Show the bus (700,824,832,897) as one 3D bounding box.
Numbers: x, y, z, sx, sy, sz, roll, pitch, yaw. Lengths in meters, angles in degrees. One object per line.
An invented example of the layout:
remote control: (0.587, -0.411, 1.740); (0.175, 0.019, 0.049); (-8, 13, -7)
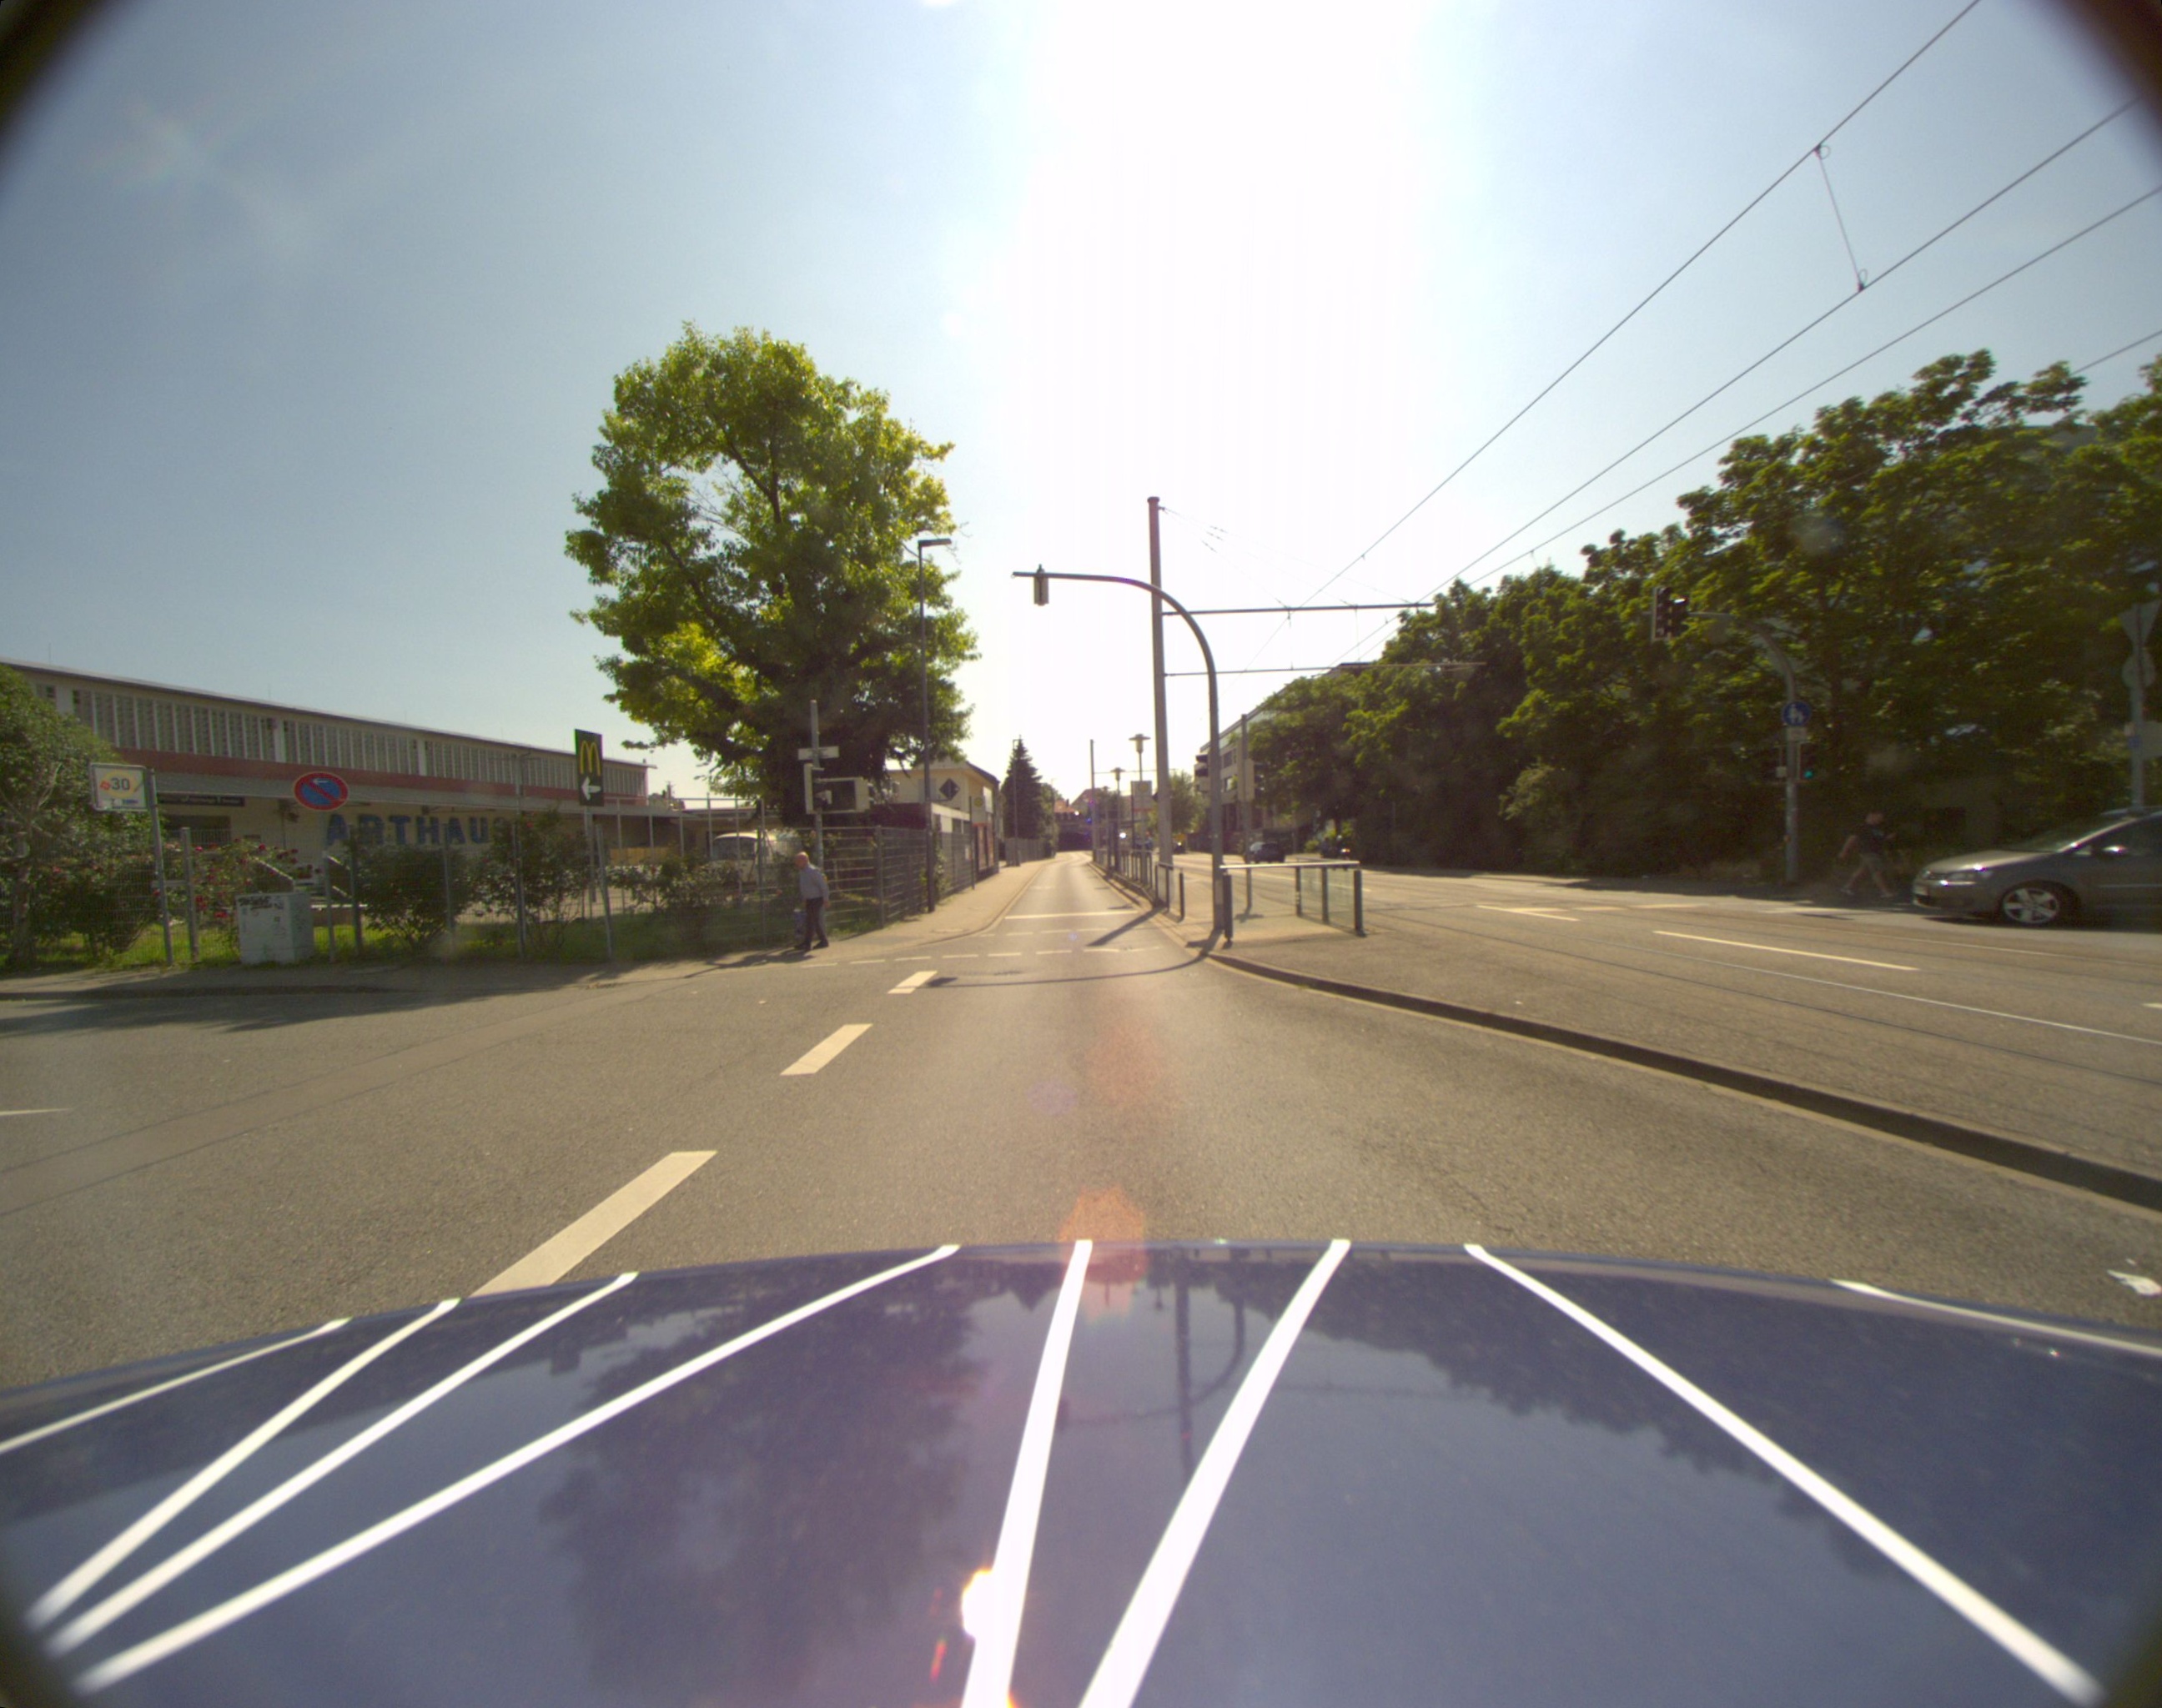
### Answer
bus: (-16.121, 0.107, 39.979); (2.572, 3.154, 10.262); (-2, 3, 0)

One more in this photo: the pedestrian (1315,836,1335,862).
pedestrian: (14.940, -0.322, 46.573); (0.873, 1.518, 0.845); (-2, 1, -2)

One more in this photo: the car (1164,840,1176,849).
car: (15.507, -1.664, 132.407); (1.870, 1.609, 4.001); (-1, 1, 6)

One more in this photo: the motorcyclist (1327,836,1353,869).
motorcyclist: (12.136, -0.078, 35.652); (0.838, 1.467, 0.962); (-2, 1, 0)

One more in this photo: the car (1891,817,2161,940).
car: (14.525, 0.288, 10.475); (4.181, 1.574, 1.936); (0, 2, 28)

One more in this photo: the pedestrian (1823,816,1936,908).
pedestrian: (15.549, 0.144, 14.834); (0.888, 1.661, 1.160); (-5, 1, -2)

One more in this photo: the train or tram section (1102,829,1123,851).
train or tram section: (5.434, -2.434, 131.170); (2.681, 3.464, 12.323); (-2, 1, -1)

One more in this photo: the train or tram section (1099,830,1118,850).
train or tram section: (5.169, -2.628, 143.834); (2.681, 3.464, 13.385); (-2, 1, -1)

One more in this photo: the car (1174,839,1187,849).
car: (16.375, -1.630, 124.909); (1.997, 1.613, 4.001); (-1, 1, 6)

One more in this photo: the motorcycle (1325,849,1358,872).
motorcycle: (12.160, 0.295, 35.558); (0.824, 1.005, 1.963); (-2, 1, -1)

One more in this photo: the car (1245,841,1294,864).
car: (11.979, -0.131, 48.657); (1.912, 1.434, 4.594); (0, 1, -1)

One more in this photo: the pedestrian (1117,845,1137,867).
pedestrian: (2.324, 0.106, 38.345); (0.945, 1.093, 0.726); (0, 2, -2)

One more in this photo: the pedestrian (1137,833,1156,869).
pedestrian: (3.172, -0.154, 36.775); (0.726, 1.715, 0.944); (-3, 1, -1)

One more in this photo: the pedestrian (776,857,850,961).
pedestrian: (-4.573, 0.899, 12.970); (0.813, 1.690, 0.889); (0, 2, 44)
